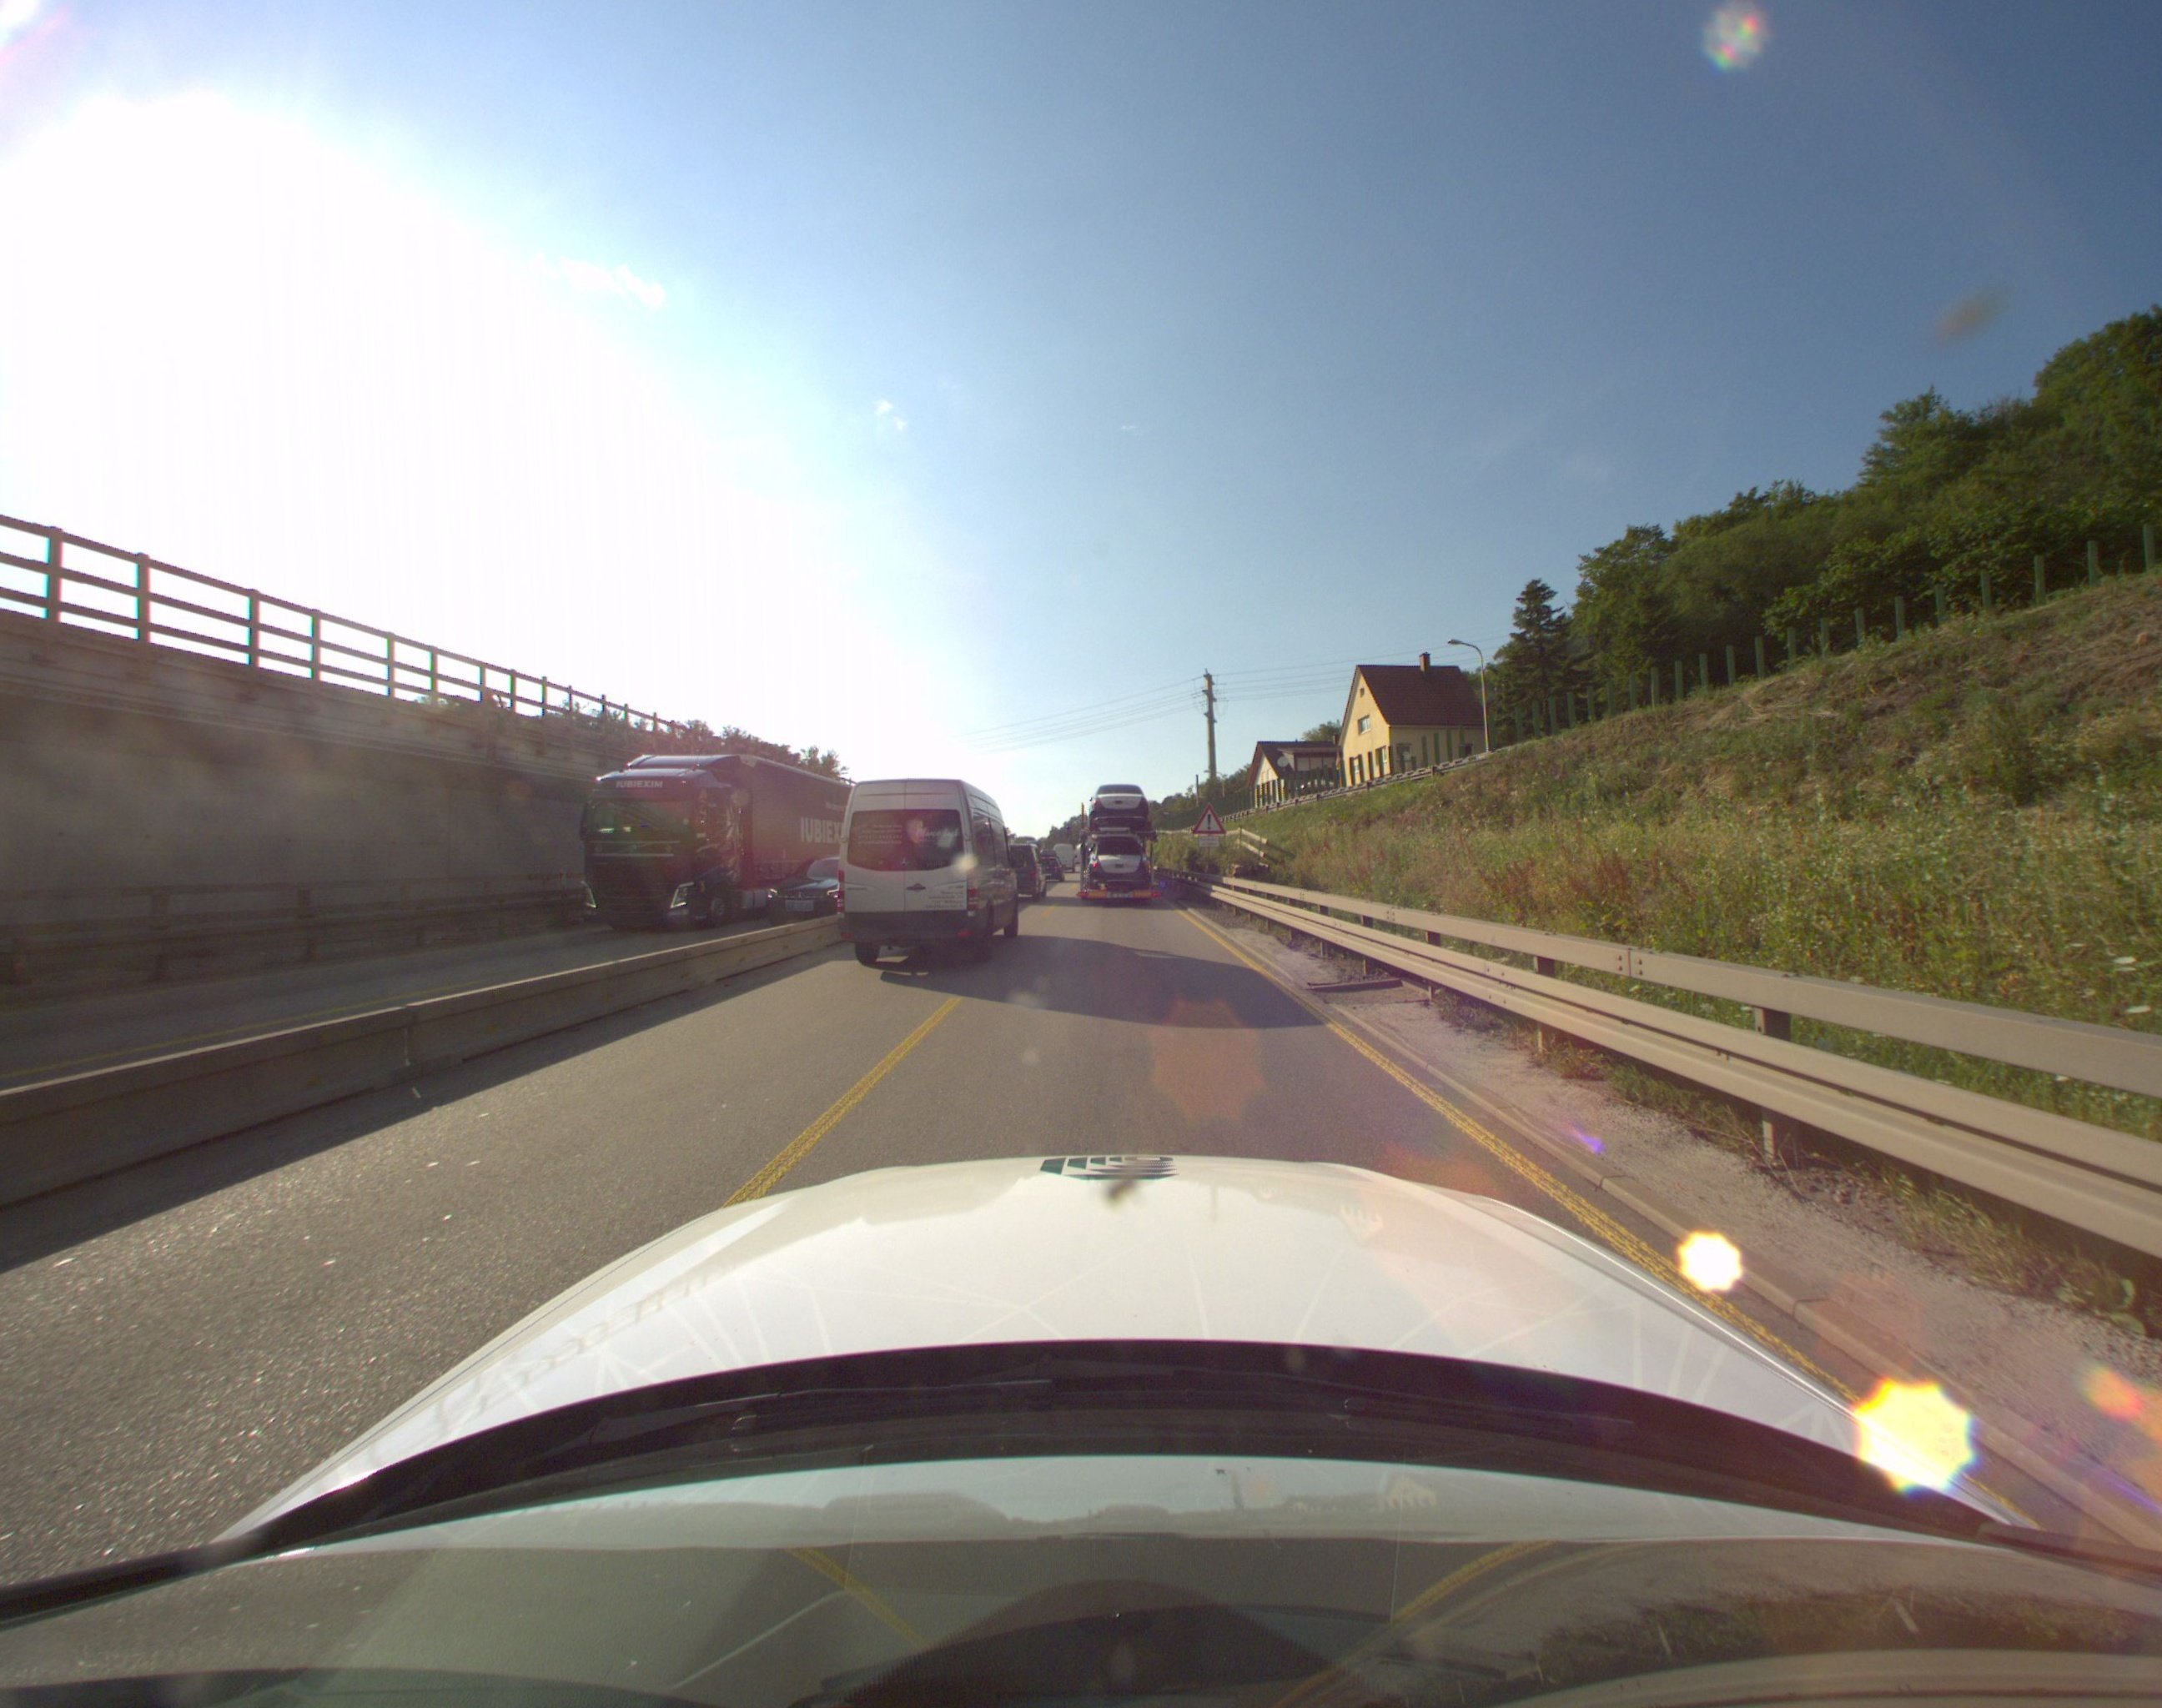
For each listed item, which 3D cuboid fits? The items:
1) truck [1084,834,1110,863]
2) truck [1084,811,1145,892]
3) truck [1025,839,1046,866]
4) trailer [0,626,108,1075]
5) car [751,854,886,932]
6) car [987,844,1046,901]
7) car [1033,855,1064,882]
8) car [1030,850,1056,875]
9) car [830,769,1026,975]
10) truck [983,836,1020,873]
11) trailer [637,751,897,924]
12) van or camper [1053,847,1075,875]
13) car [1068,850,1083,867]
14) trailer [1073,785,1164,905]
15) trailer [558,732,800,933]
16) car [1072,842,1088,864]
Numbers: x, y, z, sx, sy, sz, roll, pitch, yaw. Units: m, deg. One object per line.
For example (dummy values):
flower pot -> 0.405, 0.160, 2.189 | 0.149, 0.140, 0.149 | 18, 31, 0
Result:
truck -> 2.930, -0.948, 141.747 | 4.048, 4.679, 10.601 | -1, 0, 3
truck -> 1.590, -0.042, 39.463 | 2.672, 3.535, 7.196 | -1, -1, 2
truck -> -7.500, -0.279, 135.223 | 2.616, 4.112, 9.625 | -4, 0, 0
trailer -> -9.925, -0.097, 1.739 | 2.547, 3.527, 10.685 | 0, -1, 2
car -> -6.112, 0.867, 19.578 | 1.635, 1.645, 4.689 | 0, -1, 1
car -> -2.253, 0.673, 29.280 | 1.802, 1.904, 3.999 | 0, -1, 0
car -> -1.952, 0.855, 49.967 | 1.720, 1.522, 3.973 | 0, 0, 0
car -> -3.968, 0.919, 86.128 | 2.463, 2.534, 4.000 | -1, -1, 1
car -> -2.209, 0.237, 13.511 | 1.986, 2.648, 5.532 | -2, 0, 2
truck -> -8.067, 0.142, 83.342 | 2.706, 3.424, 8.140 | -4, -1, 1
trailer -> -9.160, -0.429, 26.676 | 2.754, 4.141, 14.029 | 0, 0, 1
van or camper -> -1.526, 0.672, 76.699 | 1.962, 2.592, 5.040 | 0, -1, 0
car -> -0.695, 0.586, 106.372 | 1.879, 2.100, 3.766 | -1, 0, 1
trailer -> 1.358, -0.169, 31.895 | 2.672, 3.535, 15.293 | -1, -1, 2
trailer -> -9.324, -0.459, 19.790 | 2.755, 4.141, 5.978 | 0, 0, 1
car -> -0.285, -0.199, 190.747 | 3.435, 5.035, 9.647 | -1, 0, -1
